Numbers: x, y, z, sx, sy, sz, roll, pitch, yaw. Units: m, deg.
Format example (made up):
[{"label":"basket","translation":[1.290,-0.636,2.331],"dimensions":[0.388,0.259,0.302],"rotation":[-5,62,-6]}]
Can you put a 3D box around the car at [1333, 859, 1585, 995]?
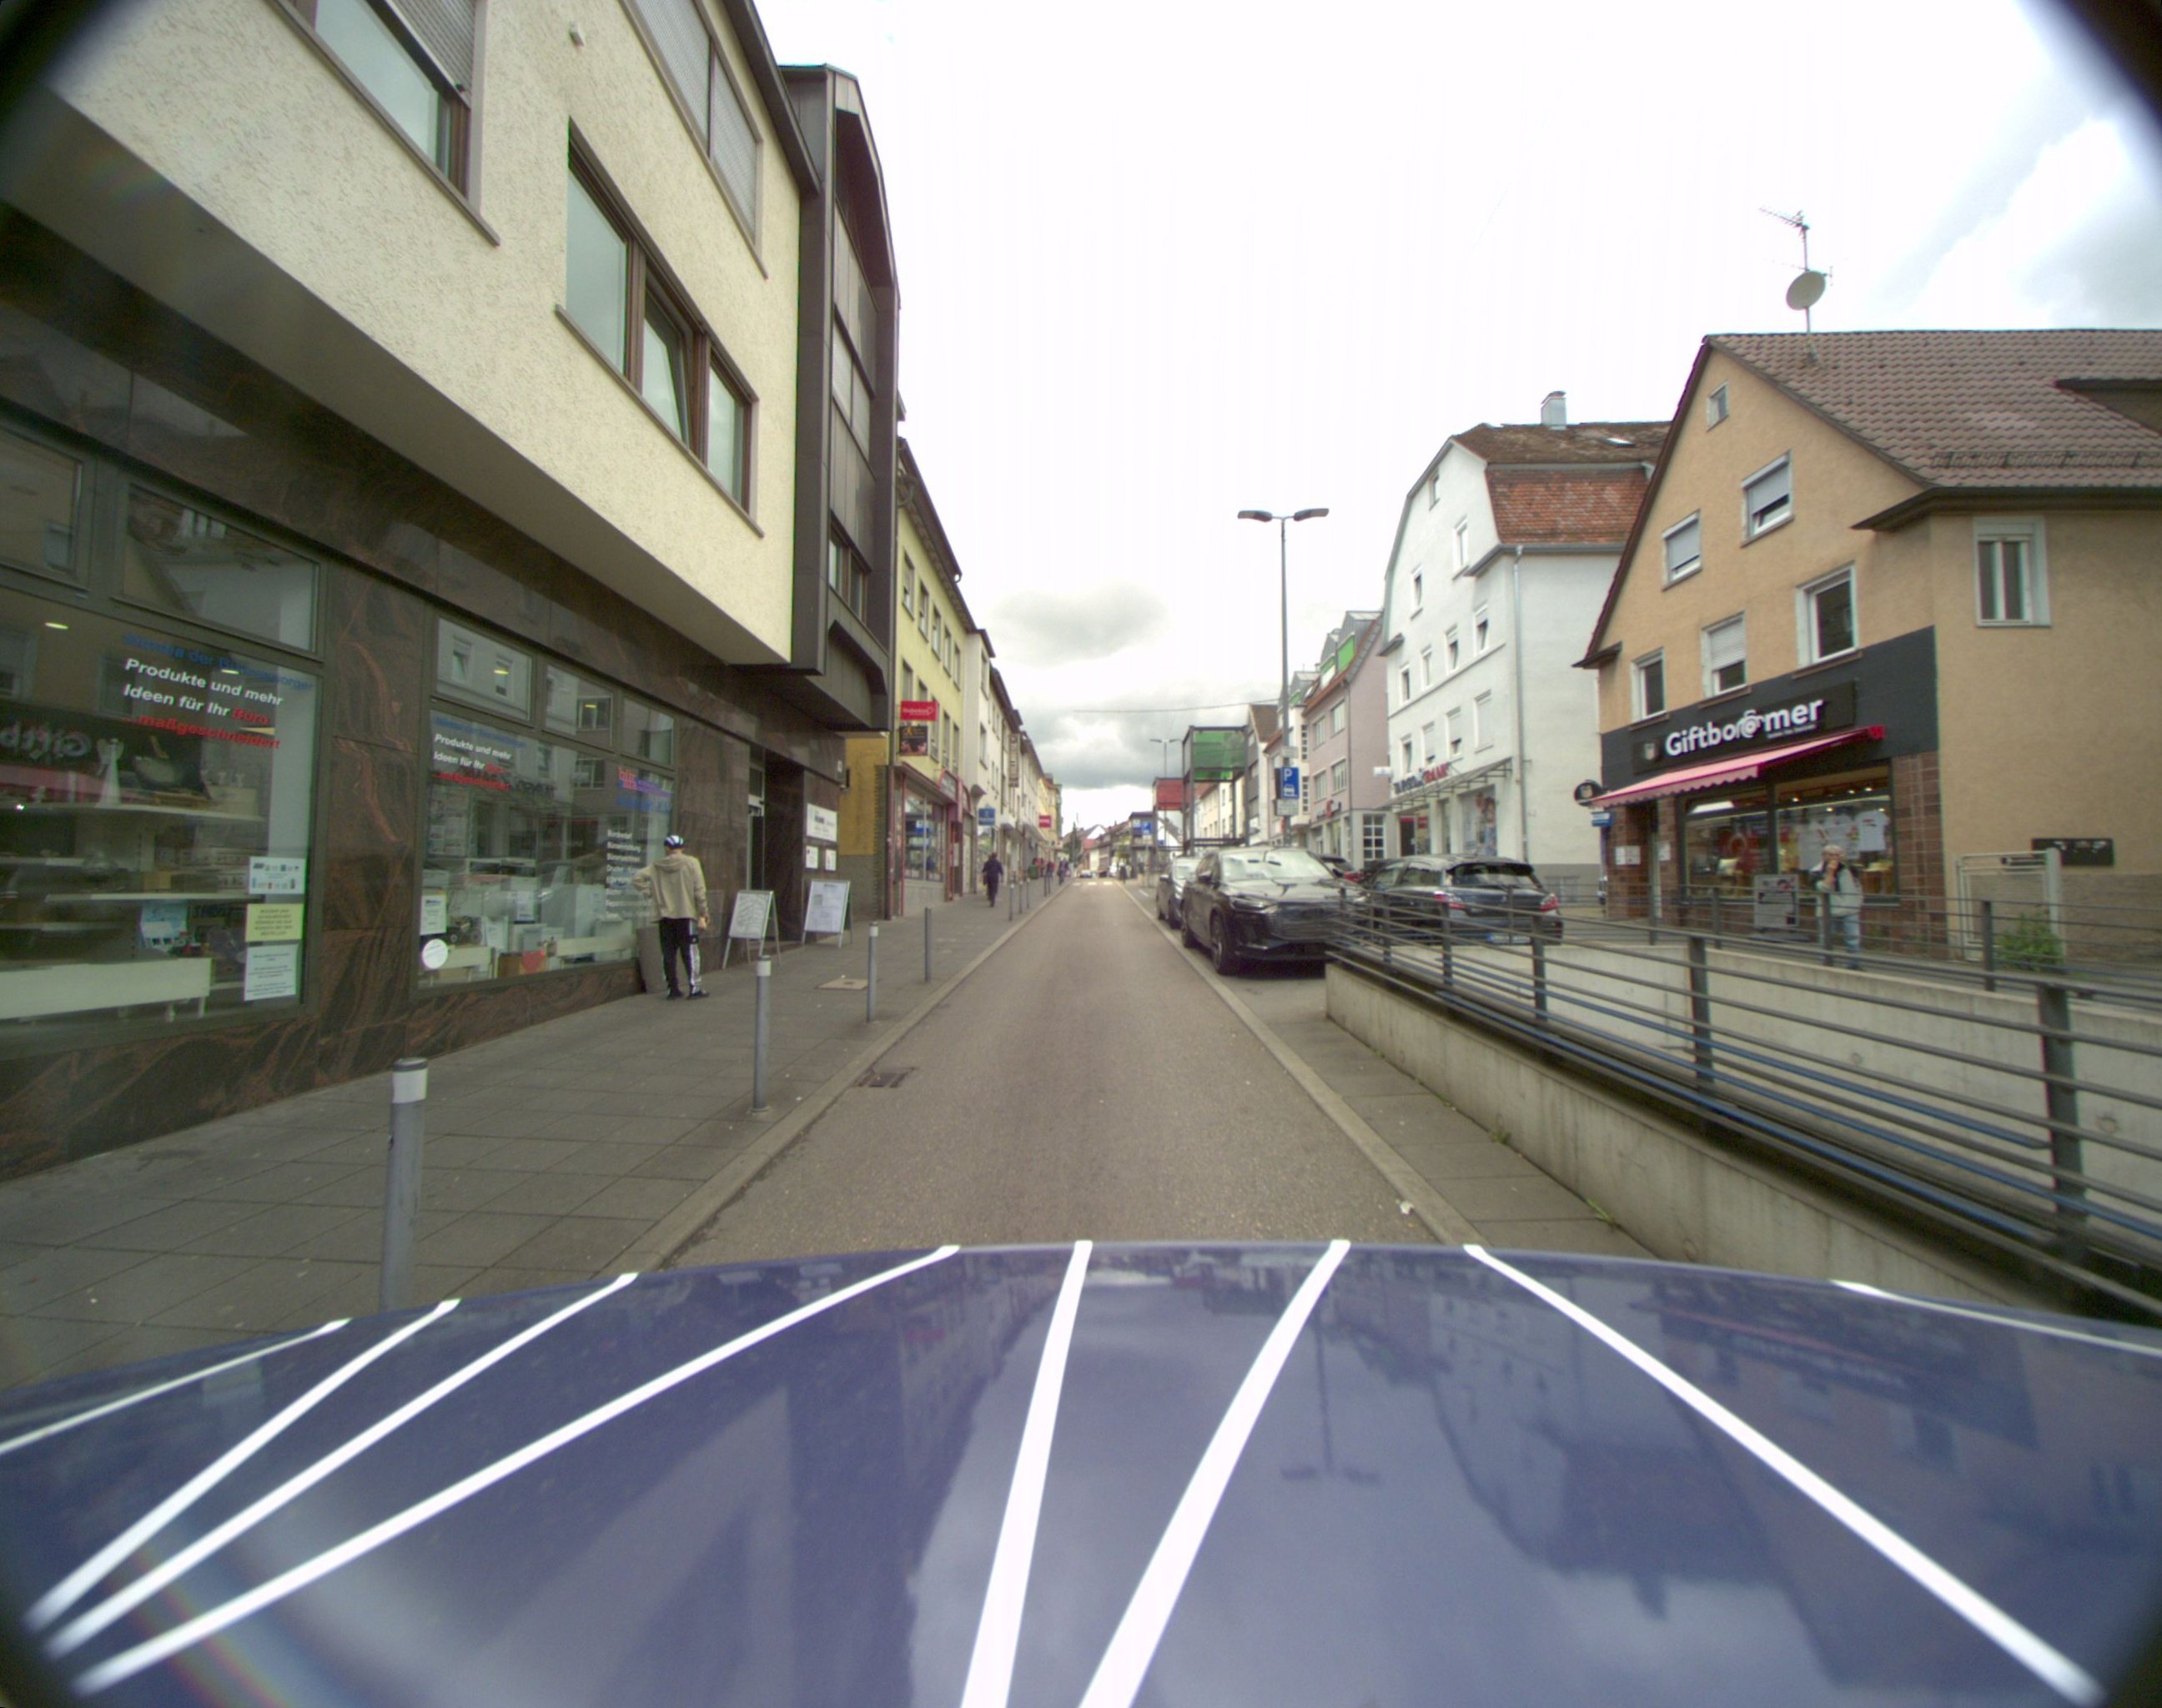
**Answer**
[{"label":"car","translation":[5.126,0.877,10.954],"dimensions":[1.703,1.538,3.898],"rotation":[-2,0,1]}]

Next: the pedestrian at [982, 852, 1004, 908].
[{"label":"pedestrian","translation":[-2.715,0.798,23.480],"dimensions":[0.639,1.689,0.708],"rotation":[0,1,-5]}]

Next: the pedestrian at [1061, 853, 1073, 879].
[{"label":"pedestrian","translation":[-0.938,0.816,52.235],"dimensions":[0.761,1.764,0.851],"rotation":[0,1,-6]}]

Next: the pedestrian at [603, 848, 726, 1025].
[{"label":"pedestrian","translation":[-4.171,0.793,7.668],"dimensions":[0.760,1.663,0.780],"rotation":[3,0,-2]}]

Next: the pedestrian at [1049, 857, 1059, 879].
[{"label":"pedestrian","translation":[-1.866,0.945,52.221],"dimensions":[0.663,1.519,0.705],"rotation":[0,1,-6]}]

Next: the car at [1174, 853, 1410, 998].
[{"label":"car","translation":[2.637,0.799,10.712],"dimensions":[1.999,1.557,4.431],"rotation":[-2,0,-1]}]

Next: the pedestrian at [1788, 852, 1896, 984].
[{"label":"pedestrian","translation":[10.075,0.821,10.081],"dimensions":[0.748,1.704,0.664],"rotation":[0,1,1]}]

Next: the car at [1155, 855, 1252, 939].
[{"label":"car","translation":[2.603,0.857,16.804],"dimensions":[1.577,1.600,3.533],"rotation":[-2,0,1]}]

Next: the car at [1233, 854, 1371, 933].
[{"label":"car","translation":[5.023,0.827,17.979],"dimensions":[1.998,1.580,4.494],"rotation":[-2,0,1]}]
